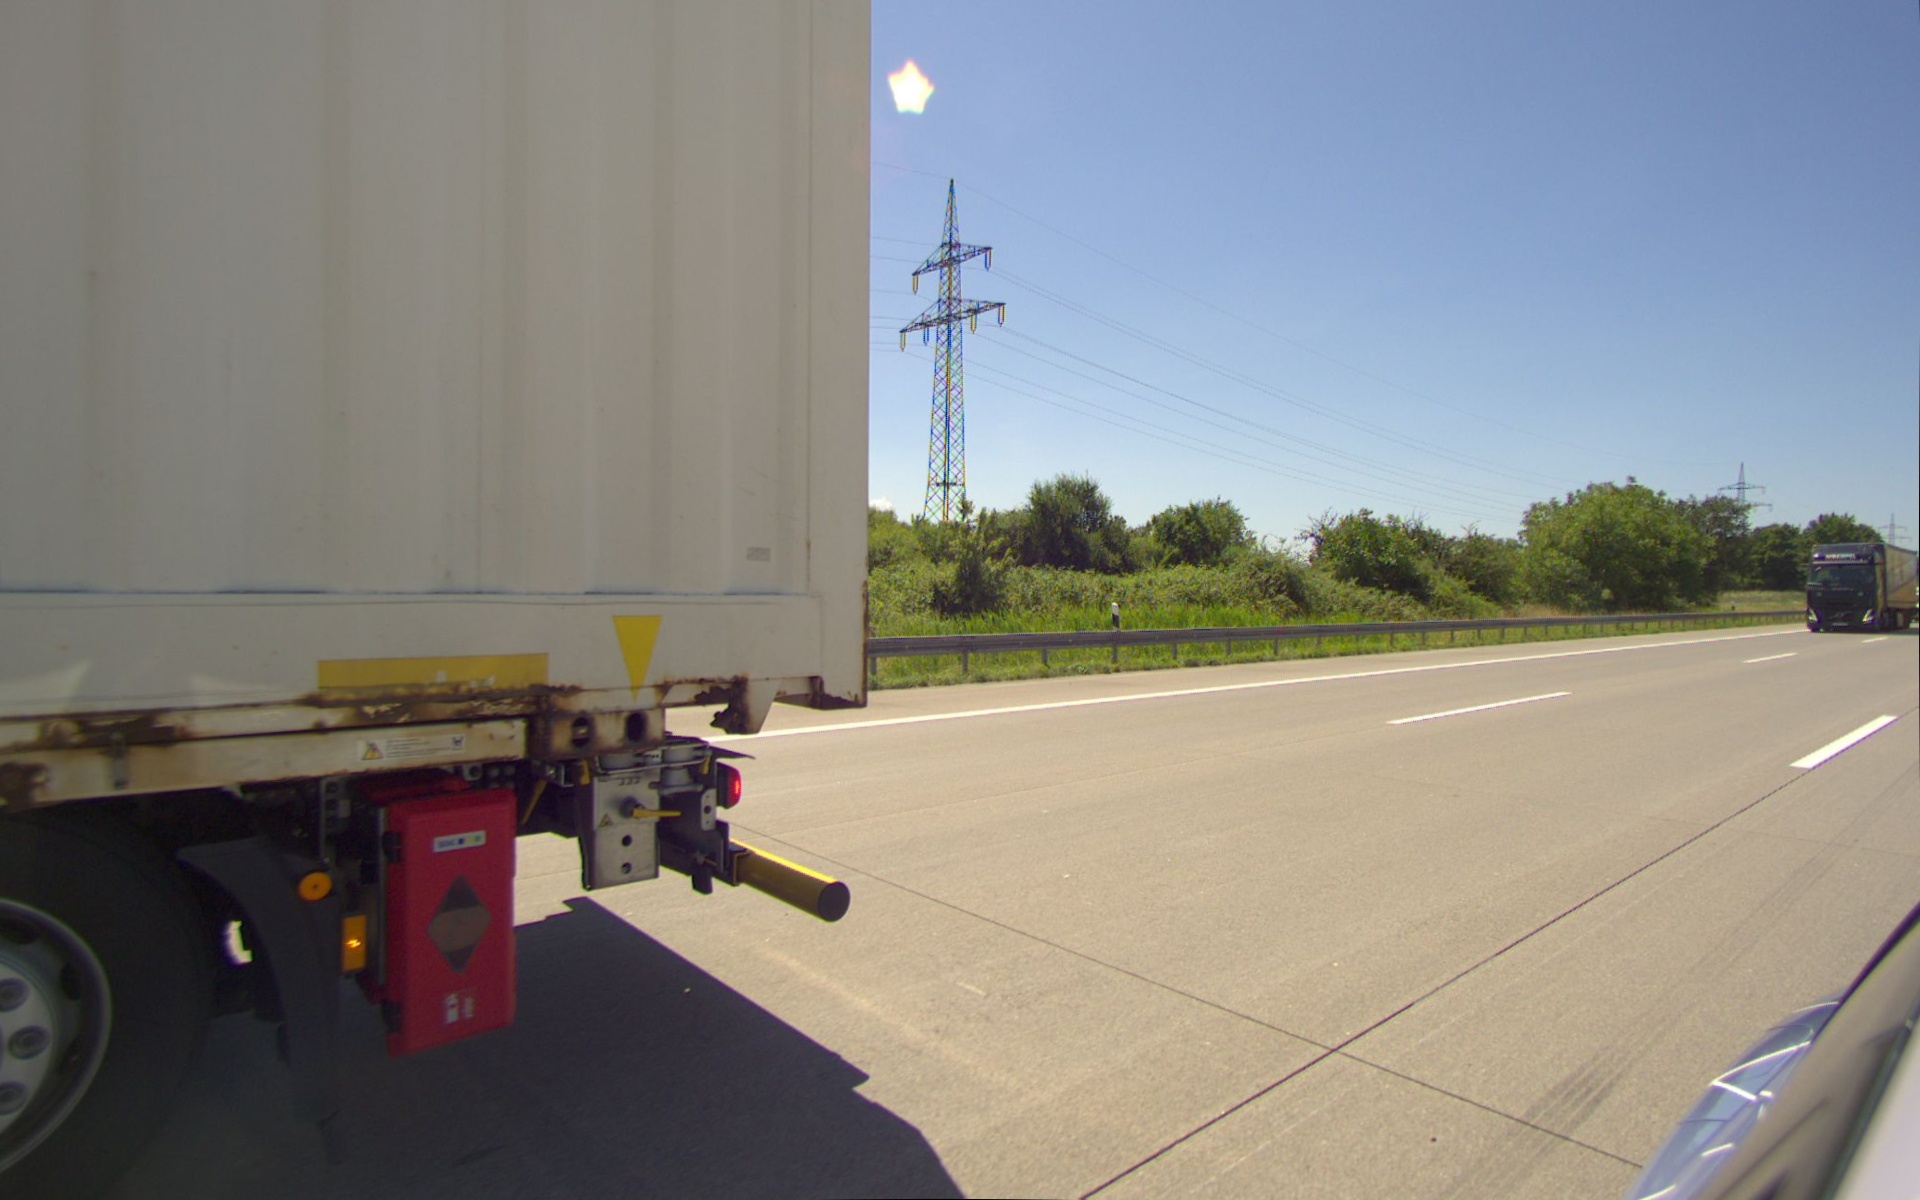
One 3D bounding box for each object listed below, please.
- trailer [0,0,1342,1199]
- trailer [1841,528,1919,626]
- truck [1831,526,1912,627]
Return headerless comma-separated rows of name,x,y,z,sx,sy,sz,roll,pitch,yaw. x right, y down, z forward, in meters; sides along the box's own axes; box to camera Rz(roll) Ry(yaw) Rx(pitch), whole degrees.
trailer,-2.674,-0.560,2.789,10.194,3.927,2.584,0,0,-42
trailer,45.781,-1.037,49.553,14.488,4.246,1.997,0,0,-41
truck,40.549,-1.004,44.972,5.606,4.246,1.997,0,0,-41
